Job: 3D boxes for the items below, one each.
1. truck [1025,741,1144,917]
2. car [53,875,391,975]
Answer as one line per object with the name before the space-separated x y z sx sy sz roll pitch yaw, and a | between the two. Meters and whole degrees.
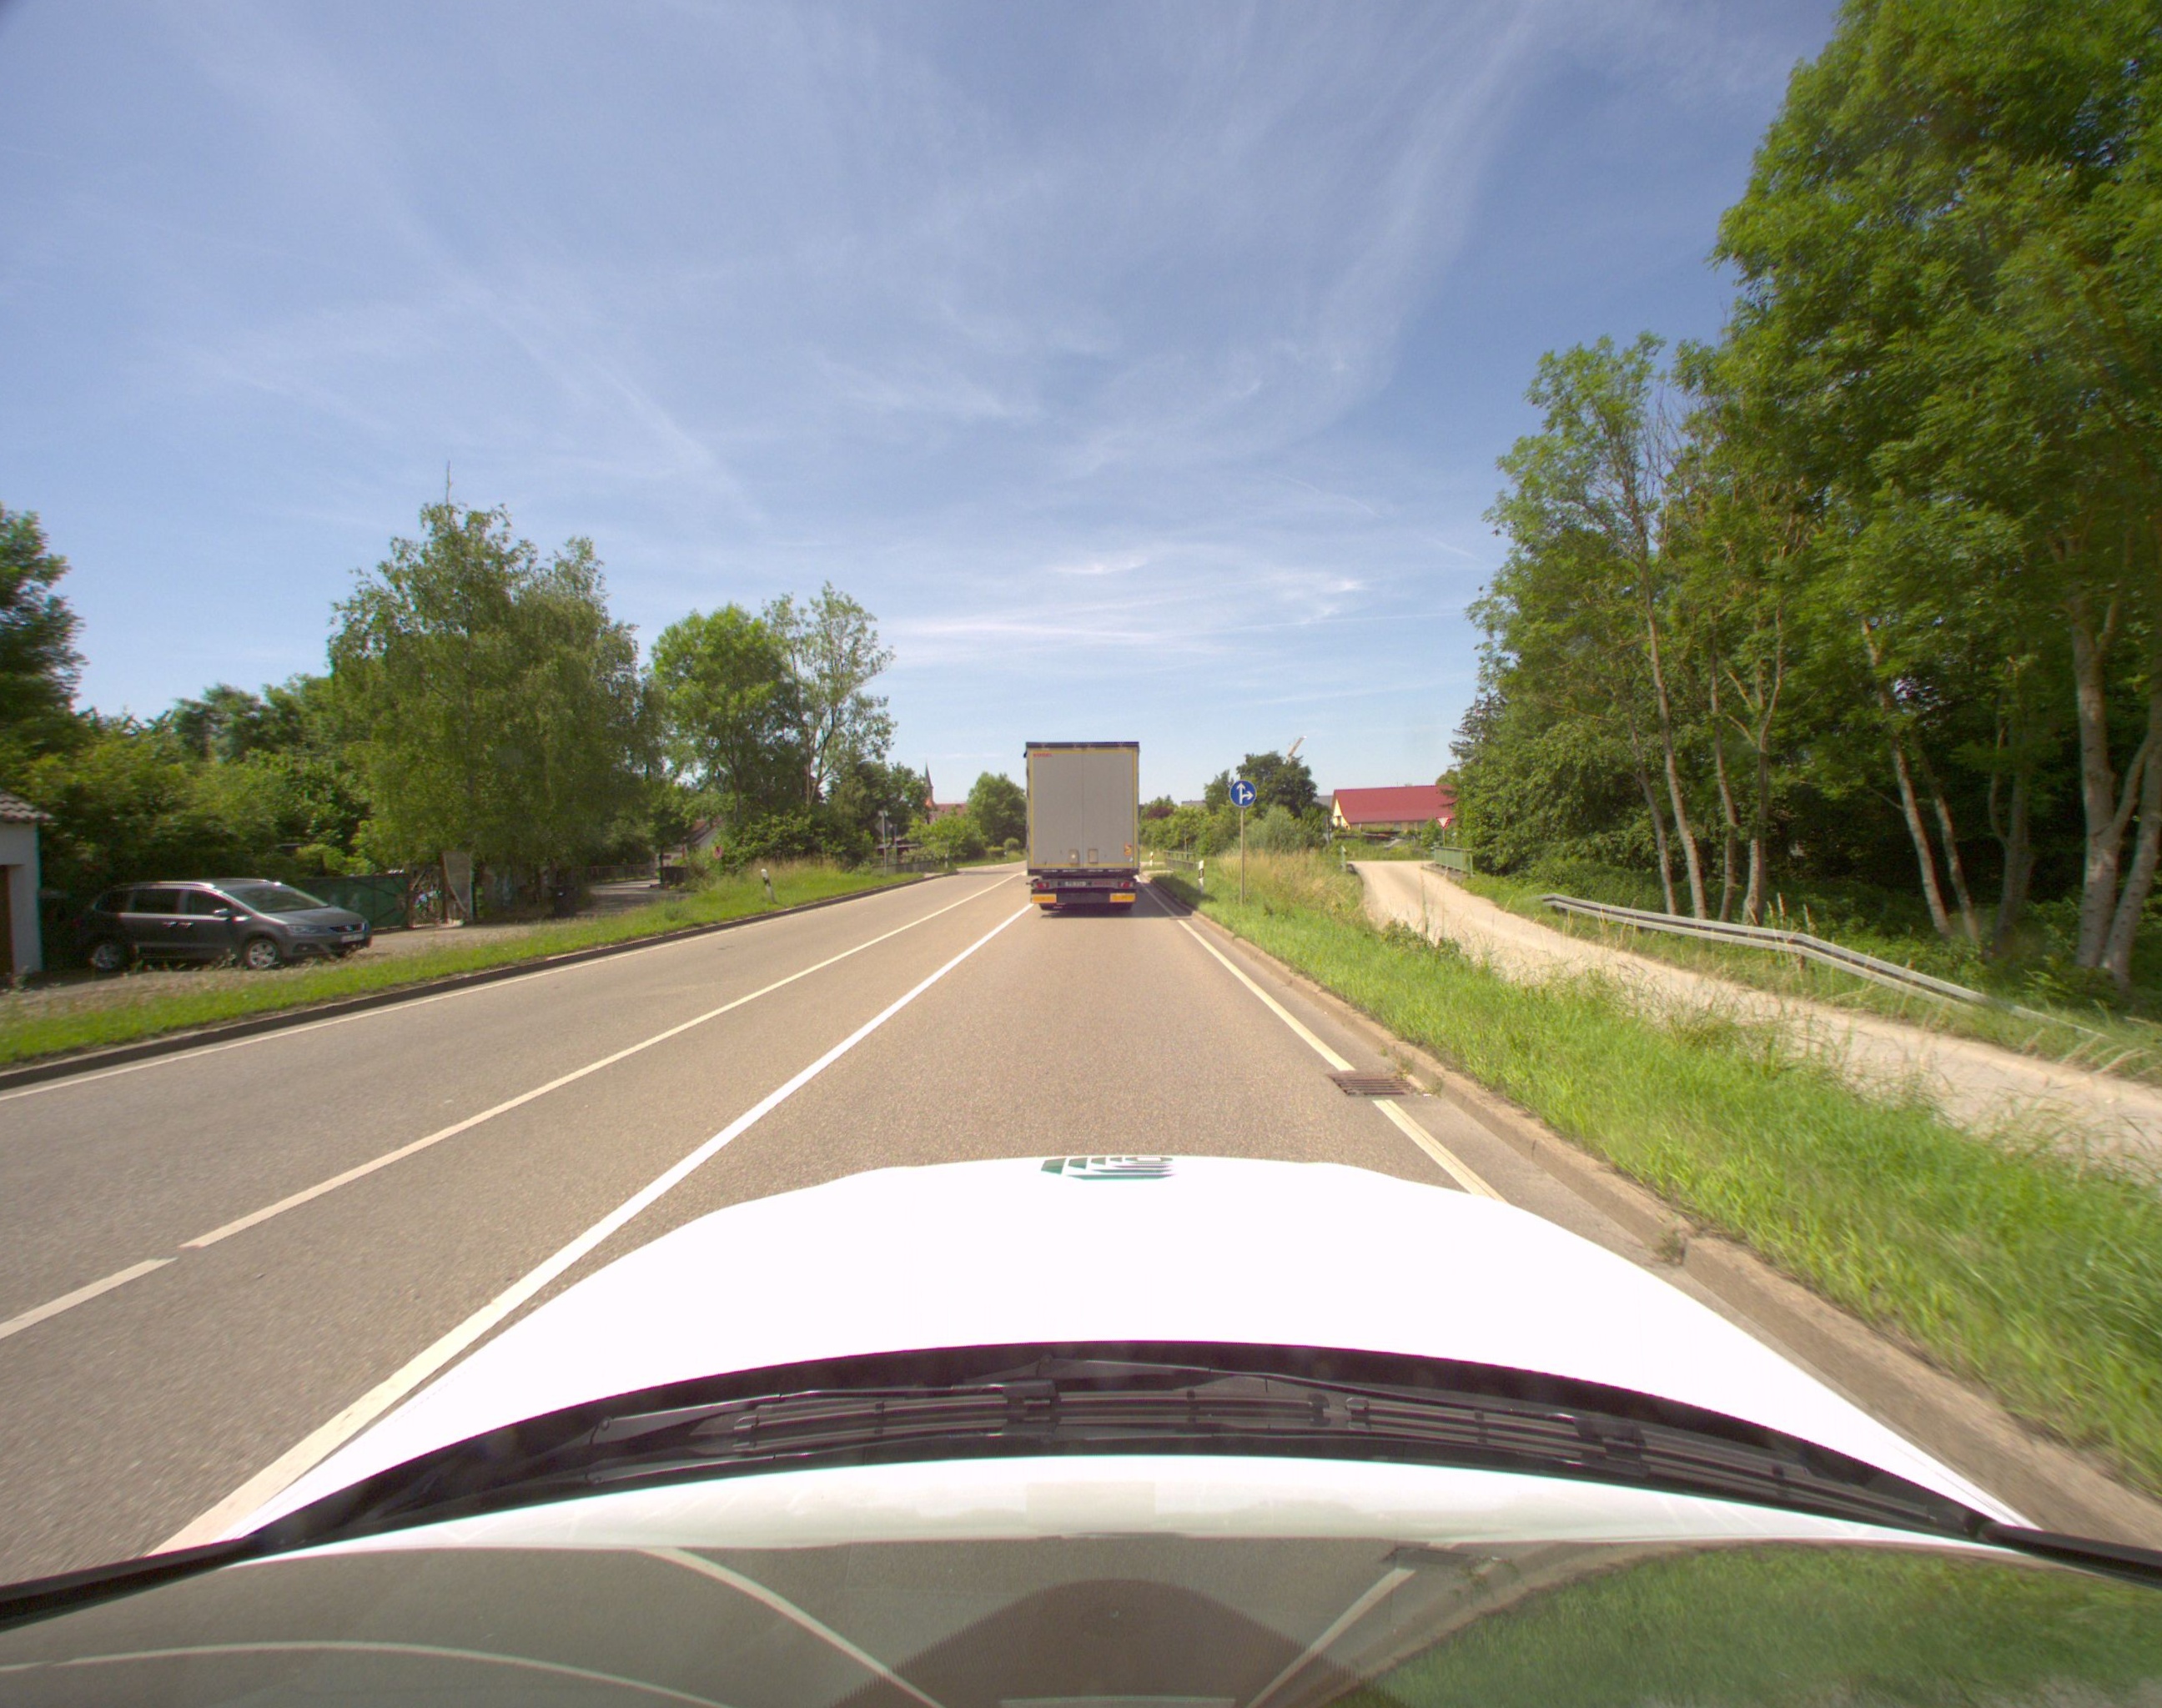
truck | 0.095 -0.600 22.665 2.639 3.917 8.824 -1 0 0
car | -17.316 1.392 16.636 4.653 1.720 1.860 -1 2 -4
